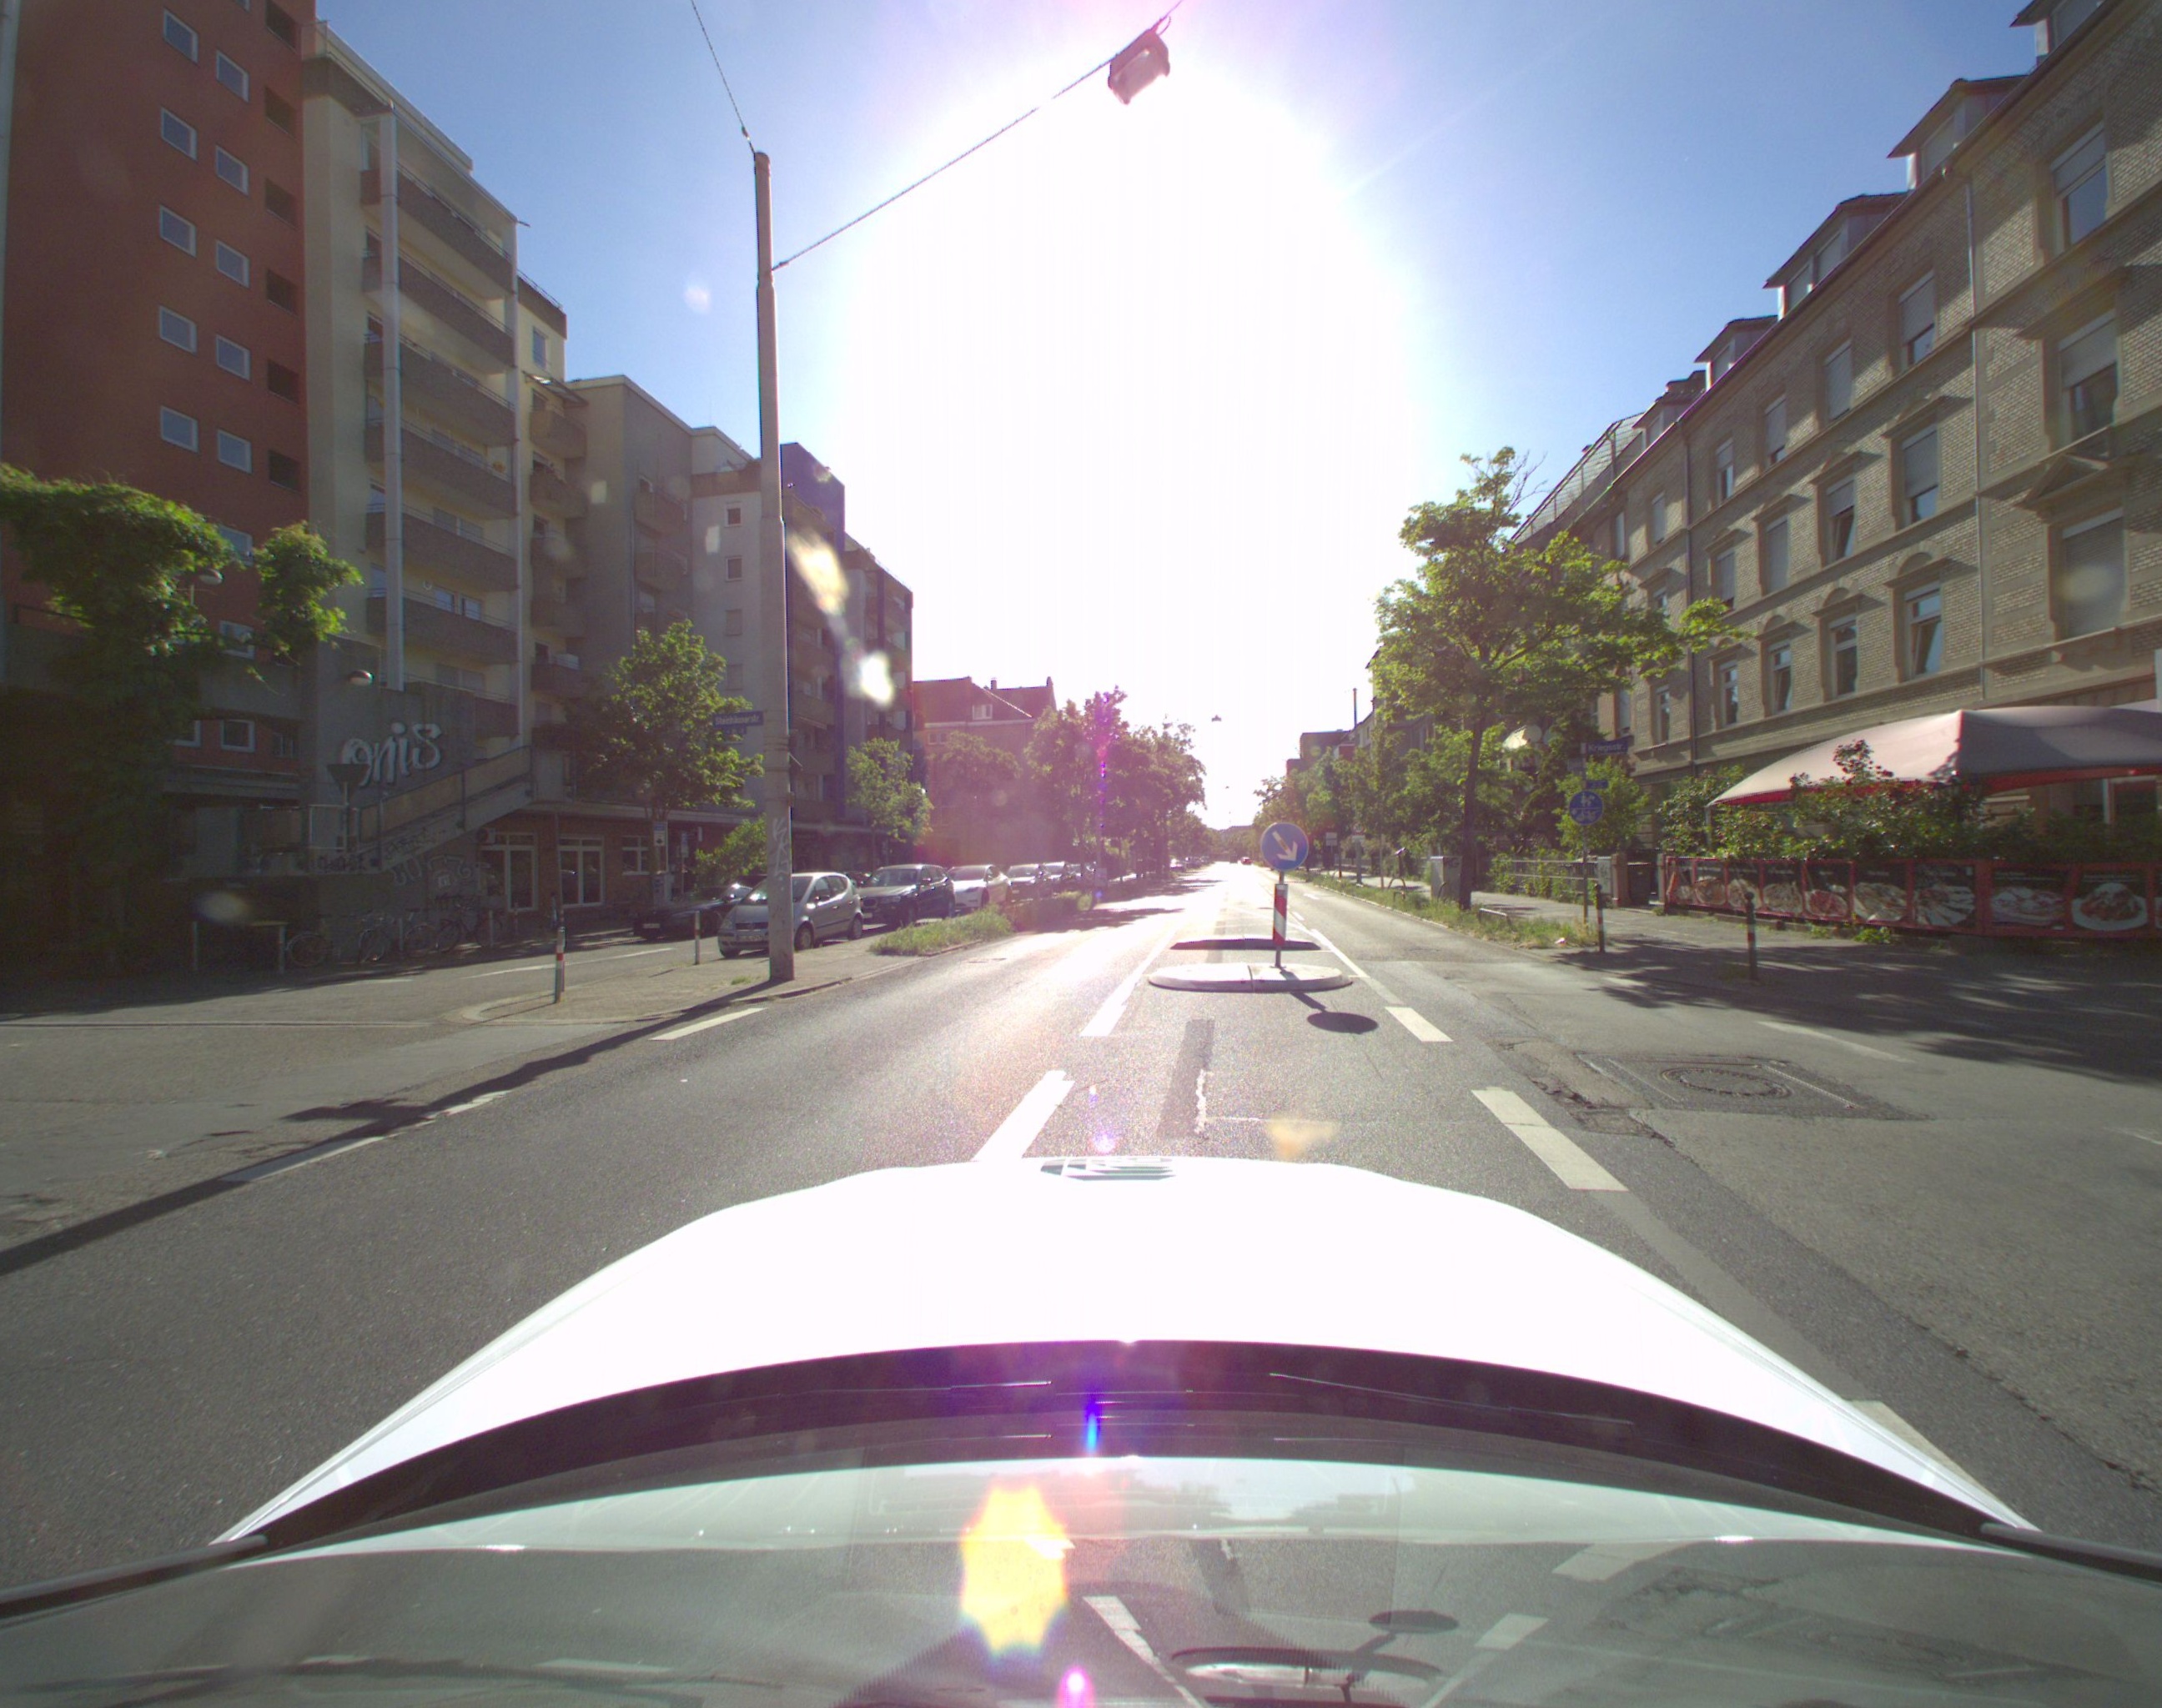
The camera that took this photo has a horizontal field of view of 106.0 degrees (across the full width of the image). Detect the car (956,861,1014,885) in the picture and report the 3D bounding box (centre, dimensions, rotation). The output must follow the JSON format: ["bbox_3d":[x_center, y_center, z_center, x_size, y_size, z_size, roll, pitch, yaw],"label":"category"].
[{"bbox_3d":[-7.088,1.398,60.394,3.966,1.629,1.690,-1,-1,6],"label":"car"}]

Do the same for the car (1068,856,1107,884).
[{"bbox_3d":[0.445,0.963,50.612,1.751,1.646,4.011,-2,-1,10],"label":"car"}]

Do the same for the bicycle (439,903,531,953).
[{"bbox_3d":[-13.949,1.712,19.121,0.410,1.001,1.811,2,1,20],"label":"bicycle"}]

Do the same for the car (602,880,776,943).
[{"bbox_3d":[-10.593,1.499,22.463,1.878,1.398,4.545,-2,-1,12],"label":"car"}]

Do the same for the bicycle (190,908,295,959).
[{"bbox_3d":[-17.345,1.634,16.856,1.789,1.001,0.415,0,1,2],"label":"bicycle"}]

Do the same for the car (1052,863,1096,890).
[{"bbox_3d":[-0.334,1.229,45.951,1.744,1.398,4.011,-2,0,10],"label":"car"}]

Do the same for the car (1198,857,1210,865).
[{"bbox_3d":[25.735,1.481,170.345,1.980,1.695,4.014,-2,-1,13],"label":"car"}]

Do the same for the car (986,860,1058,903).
[{"bbox_3d":[-2.404,1.125,34.349,1.850,1.587,4.014,-3,-1,12],"label":"car"}]

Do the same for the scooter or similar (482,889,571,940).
[{"bbox_3d":[-14.694,1.599,21.611,1.957,1.277,0.632,-2,0,5],"label":"scooter or similar"}]

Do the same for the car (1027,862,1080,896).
[{"bbox_3d":[-1.311,1.208,40.396,1.740,1.553,4.011,-2,-1,10],"label":"car"}]

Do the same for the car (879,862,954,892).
[{"bbox_3d":[-9.712,1.343,48.217,3.966,1.629,1.690,-1,-1,6],"label":"car"}]

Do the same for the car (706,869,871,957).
[{"bbox_3d":[-5.883,1.135,16.852,1.710,1.518,3.539,-2,-1,8],"label":"car"}]

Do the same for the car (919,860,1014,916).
[{"bbox_3d":[-3.846,1.107,28.263,1.877,1.662,4.543,-3,-1,10],"label":"car"}]

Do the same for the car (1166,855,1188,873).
[{"bbox_3d":[11.166,1.107,94.683,1.980,2.014,4.220,-2,-1,13],"label":"car"}]

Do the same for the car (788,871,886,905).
[{"bbox_3d":[-11.323,1.584,37.918,3.966,1.424,1.690,-1,-1,6],"label":"car"}]

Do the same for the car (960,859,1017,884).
[{"bbox_3d":[-7.041,1.312,62.464,3.965,1.769,1.890,-1,-1,7],"label":"car"}]

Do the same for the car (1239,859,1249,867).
[{"bbox_3d":[35.371,1.916,176.665,1.938,1.708,4.012,-2,0,11],"label":"car"}]

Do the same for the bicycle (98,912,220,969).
[{"bbox_3d":[-17.587,1.643,15.550,1.789,1.001,0.485,-1,0,2],"label":"bicycle"}]

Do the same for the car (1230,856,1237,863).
[{"bbox_3d":[38.658,1.308,206.346,1.747,1.783,4.012,-2,0,11],"label":"car"}]

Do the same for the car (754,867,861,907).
[{"bbox_3d":[-11.843,1.407,35.393,3.966,1.607,1.845,-1,-1,6],"label":"car"}]

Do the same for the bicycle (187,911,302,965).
[{"bbox_3d":[-16.652,1.665,16.238,1.614,1.001,0.413,0,1,-13],"label":"bicycle"}]

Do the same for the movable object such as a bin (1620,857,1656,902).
[{"bbox_3d":[14.323,0.658,20.964,0.565,1.133,0.553,-2,-1,11],"label":"movable object such as a bin"}]

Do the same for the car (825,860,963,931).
[{"bbox_3d":[-4.822,1.028,21.766,1.856,1.628,4.518,-2,-1,11],"label":"car"}]

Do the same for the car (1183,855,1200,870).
[{"bbox_3d":[16.457,1.263,121.382,2.047,2.014,4.644,-2,0,12],"label":"car"}]

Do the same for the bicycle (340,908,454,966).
[{"bbox_3d":[-14.368,1.712,17.173,0.410,1.031,1.813,2,1,27],"label":"bicycle"}]
